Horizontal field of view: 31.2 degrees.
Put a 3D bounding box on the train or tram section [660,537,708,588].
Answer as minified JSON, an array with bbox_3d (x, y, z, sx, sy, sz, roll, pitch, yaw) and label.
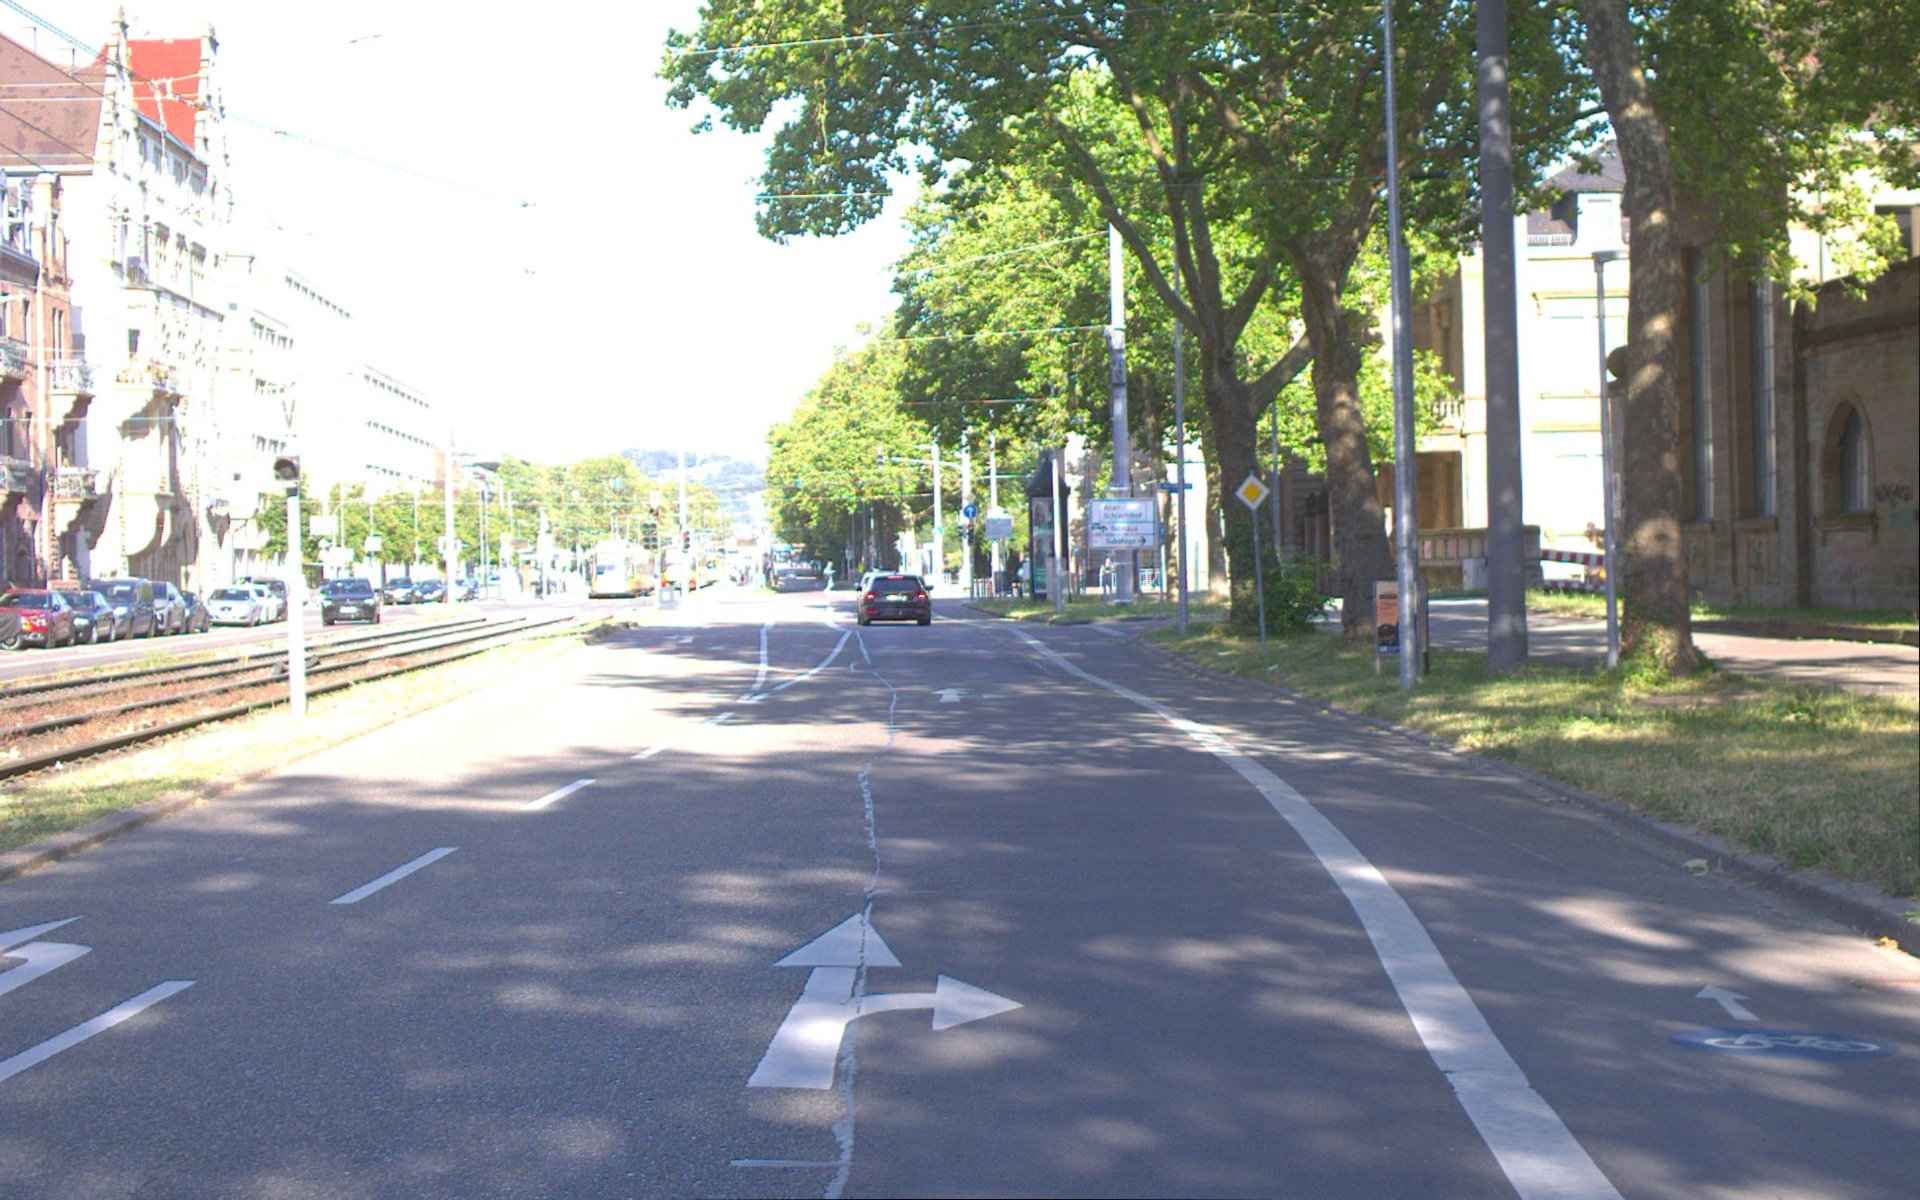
[{"bbox_3d":[-19.384,-2.596,241.622,2.825,3.439,9.064,-1,0,-2],"label":"train or tram section"}]

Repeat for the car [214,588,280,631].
[{"bbox_3d":[-26.397,0.339,127.389,1.794,1.505,4.185,2,0,-4],"label":"car"}]

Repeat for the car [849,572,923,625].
[{"bbox_3d":[-2.017,-0.051,92.982,1.833,1.386,4.159,-1,0,-3],"label":"car"}]

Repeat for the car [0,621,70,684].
[{"bbox_3d":[-24.199,1.322,88.273,1.794,1.455,4.267,2,0,-4],"label":"car"}]

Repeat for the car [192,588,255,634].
[{"bbox_3d":[-26.089,0.379,121.887,1.794,1.505,4.001,2,0,-7],"label":"car"}]

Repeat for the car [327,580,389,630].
[{"bbox_3d":[-20.417,0.158,116.630,1.635,1.596,4.160,-3,1,-5],"label":"car"}]

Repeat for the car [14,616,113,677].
[{"bbox_3d":[-24.342,1.243,93.436,1.794,1.505,4.000,2,0,-3],"label":"car"}]

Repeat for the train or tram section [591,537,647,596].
[{"bbox_3d":[-20.771,-2.057,209.760,2.825,3.439,9.065,-1,0,-3],"label":"train or tram section"}]

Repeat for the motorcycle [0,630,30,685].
[{"bbox_3d":[-24.127,1.400,85.081,2.067,1.322,0.841,2,0,-18],"label":"motorcycle"}]

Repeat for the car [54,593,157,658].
[{"bbox_3d":[-24.452,0.709,98.532,1.794,1.748,4.455,2,0,0],"label":"car"}]

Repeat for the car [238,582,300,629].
[{"bbox_3d":[-26.707,0.198,132.952,1.794,1.713,4.185,2,0,-4],"label":"car"}]

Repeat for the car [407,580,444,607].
[{"bbox_3d":[-30.945,-0.406,199.035,1.794,1.505,4.001,-1,0,-5],"label":"car"}]

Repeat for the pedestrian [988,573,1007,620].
[{"bbox_3d":[1.389,-0.137,128.504,0.588,1.722,0.650,1,1,10],"label":"pedestrian"}]
